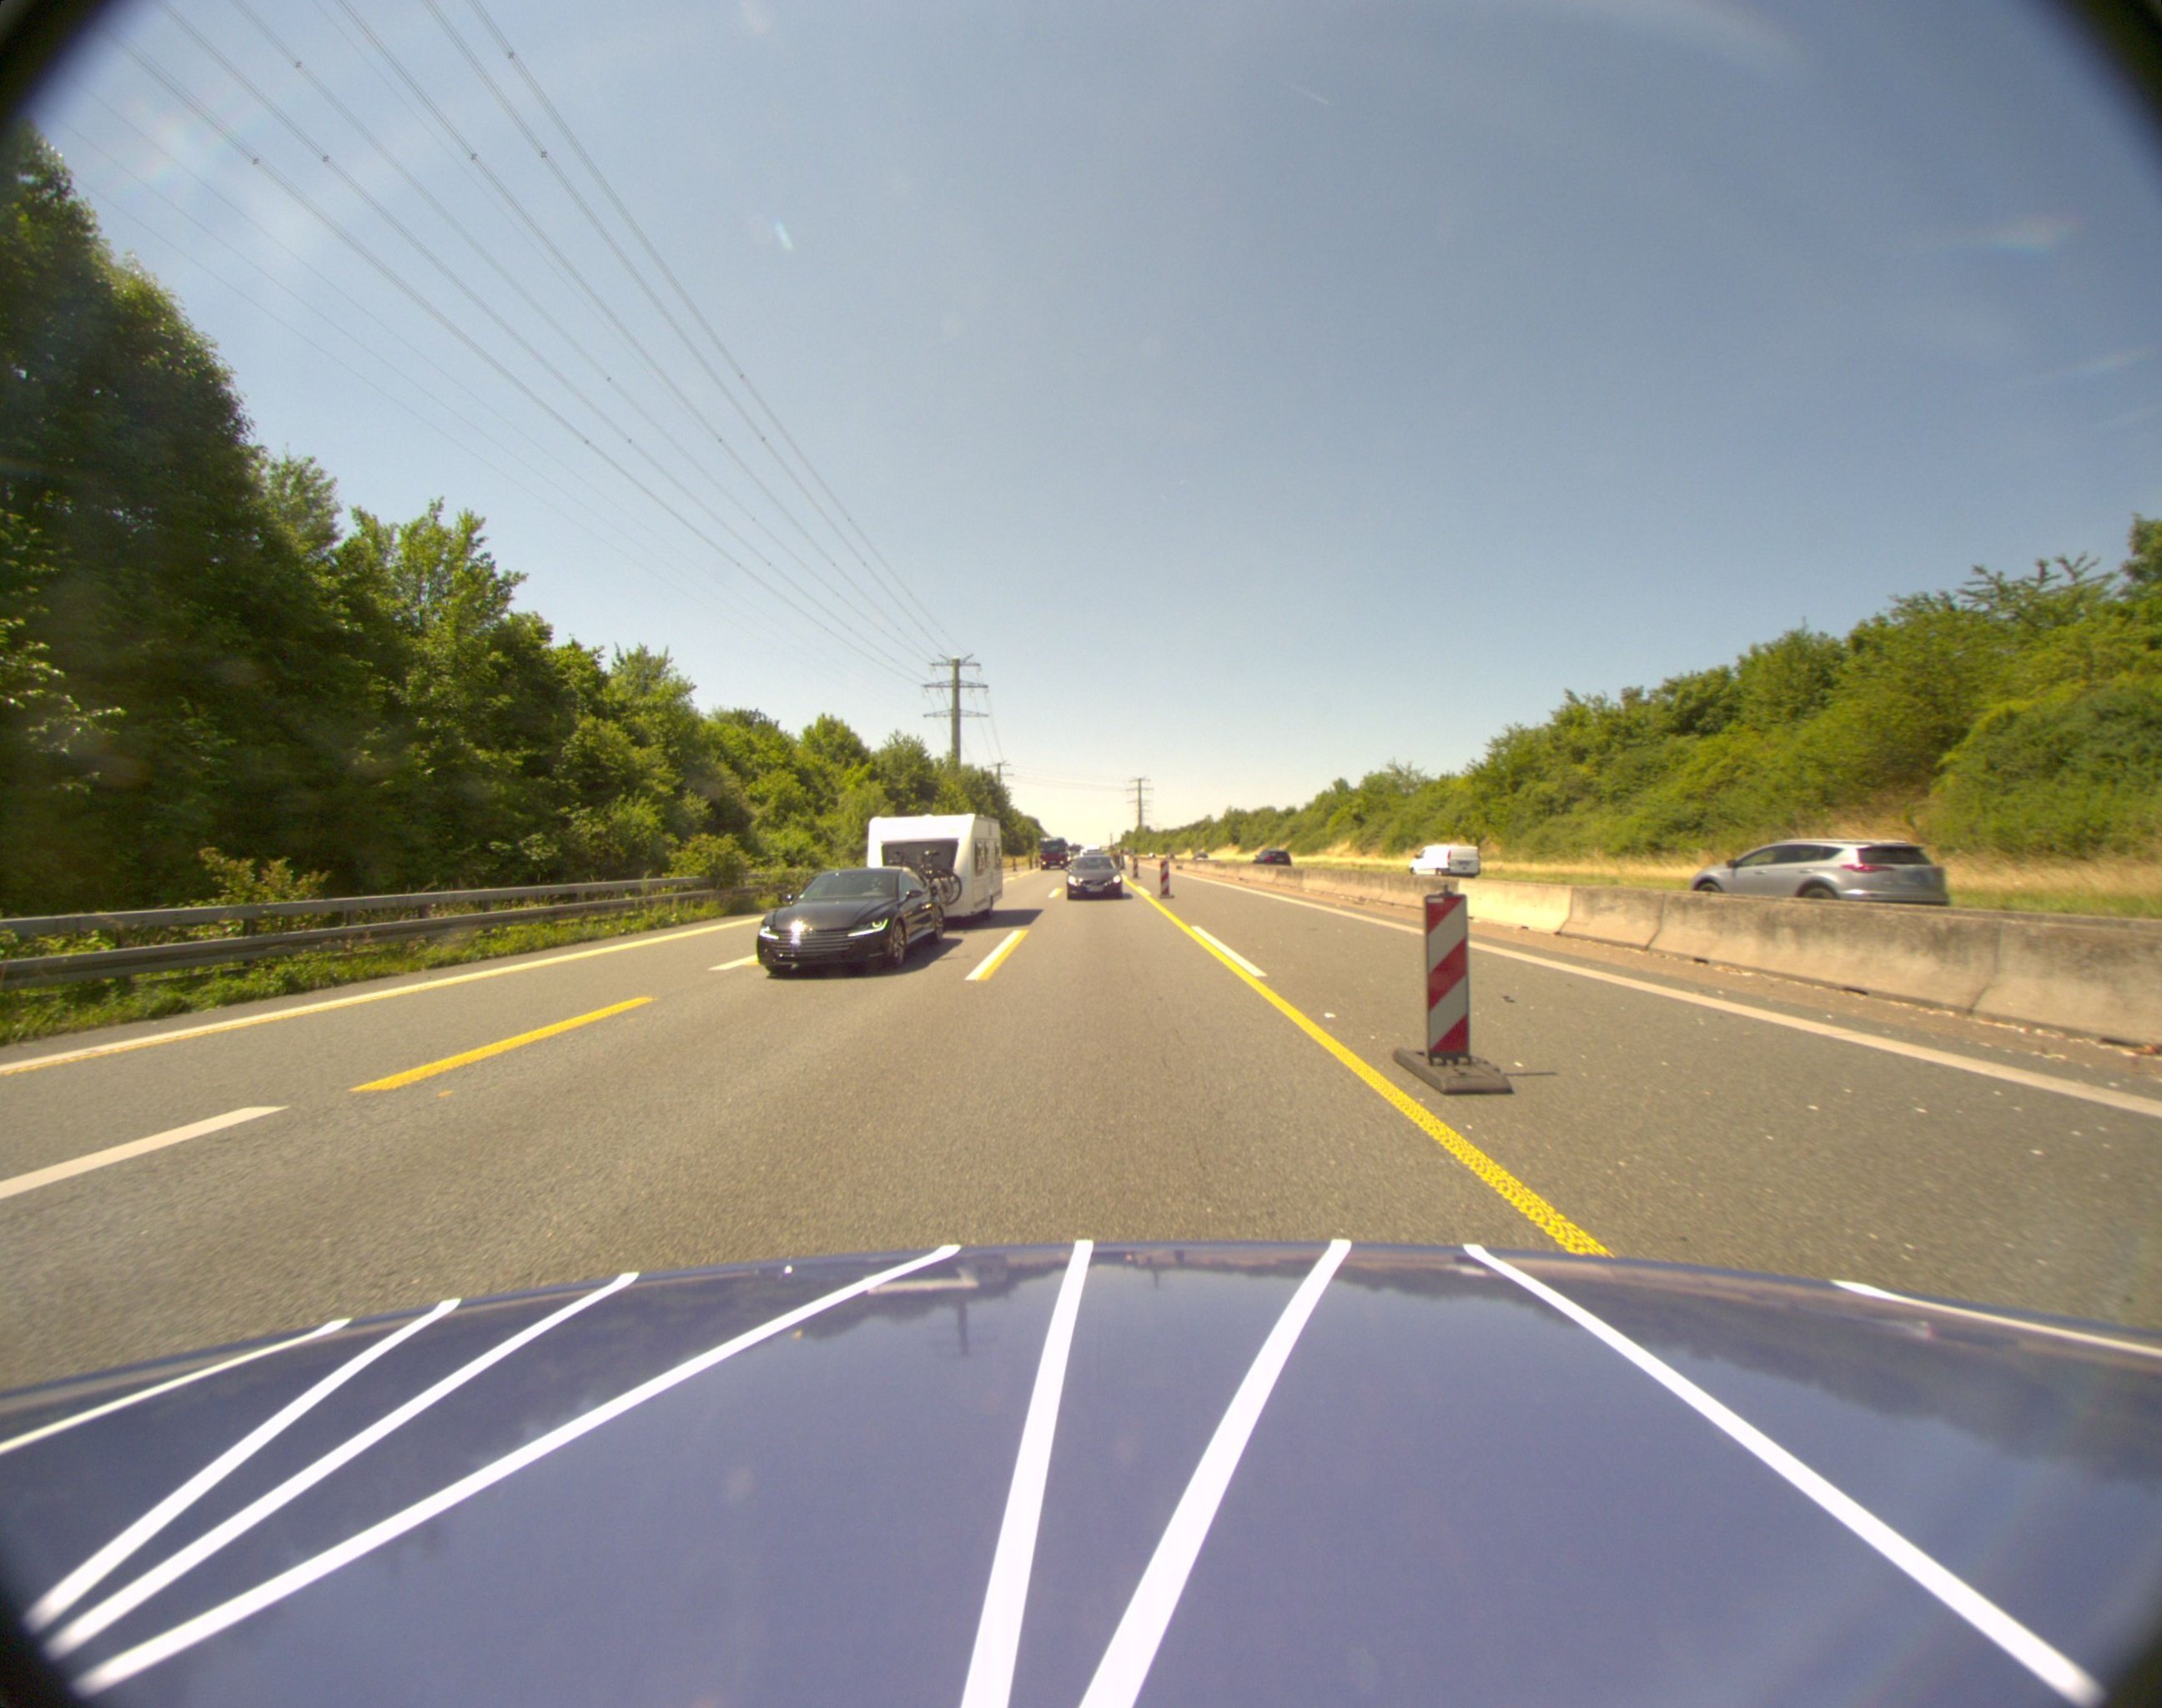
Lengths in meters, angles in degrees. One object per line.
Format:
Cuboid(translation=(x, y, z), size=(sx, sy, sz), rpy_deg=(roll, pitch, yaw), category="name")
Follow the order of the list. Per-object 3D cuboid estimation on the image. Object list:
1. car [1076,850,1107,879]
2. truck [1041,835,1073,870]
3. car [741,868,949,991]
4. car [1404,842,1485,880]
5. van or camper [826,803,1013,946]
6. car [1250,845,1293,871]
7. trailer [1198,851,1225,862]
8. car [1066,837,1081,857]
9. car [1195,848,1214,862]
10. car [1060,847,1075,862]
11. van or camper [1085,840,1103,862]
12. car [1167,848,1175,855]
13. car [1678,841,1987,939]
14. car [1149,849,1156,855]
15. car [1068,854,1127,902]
Cuboid(translation=(0.701, 0.611, 47.088), size=(1.675, 1.619, 4.691), rpy_deg=(-4, 0, 3), category="car")
Cuboid(translation=(-2.345, -0.160, 76.008), size=(2.431, 3.122, 7.648), rpy_deg=(-4, 0, 3), category="truck")
Cuboid(translation=(-3.363, 1.006, 11.760), size=(1.800, 1.399, 4.209), rpy_deg=(-2, 0, 1), category="car")
Cuboid(translation=(20.113, 0.358, 42.338), size=(1.935, 2.002, 5.596), rpy_deg=(0, 0, 1), category="car")
Cuboid(translation=(-3.335, 0.349, 18.125), size=(2.432, 2.549, 8.417), rpy_deg=(-2, 0, 1), category="van or camper")
Cuboid(translation=(12.732, 0.236, 51.036), size=(1.877, 1.684, 4.498), rpy_deg=(0, 1, 2), category="car")
Cuboid(translation=(17.289, 0.342, 101.047), size=(2.362, 1.336, 7.216), rpy_deg=(0, 1, 1), category="trailer")
Cuboid(translation=(-1.461, -1.486, 153.606), size=(2.397, 3.779, 10.273), rpy_deg=(-2, 1, 2), category="car")
Cuboid(translation=(17.360, 0.129, 107.003), size=(1.918, 1.743, 4.565), rpy_deg=(-3, 0, 1), category="car")
Cuboid(translation=(-1.777, 0.047, 103.318), size=(1.850, 1.810, 3.926), rpy_deg=(-2, 1, 1), category="car")
Cuboid(translation=(1.523, -0.353, 89.120), size=(1.998, 2.604, 5.629), rpy_deg=(0, 0, 2), category="van or camper")
Cuboid(translation=(20.351, -0.630, 171.808), size=(1.503, 1.539, 4.000), rpy_deg=(0, 1, 0), category="car")
Cuboid(translation=(15.477, 0.638, 16.125), size=(1.998, 1.772, 4.622), rpy_deg=(0, 1, 1), category="car")
Cuboid(translation=(19.412, -0.518, 206.023), size=(1.578, 1.456, 3.778), rpy_deg=(0, 1, 1), category="car")
Cuboid(translation=(0.627, 0.768, 25.967), size=(1.798, 1.433, 4.000), rpy_deg=(-2, 0, 3), category="car")
